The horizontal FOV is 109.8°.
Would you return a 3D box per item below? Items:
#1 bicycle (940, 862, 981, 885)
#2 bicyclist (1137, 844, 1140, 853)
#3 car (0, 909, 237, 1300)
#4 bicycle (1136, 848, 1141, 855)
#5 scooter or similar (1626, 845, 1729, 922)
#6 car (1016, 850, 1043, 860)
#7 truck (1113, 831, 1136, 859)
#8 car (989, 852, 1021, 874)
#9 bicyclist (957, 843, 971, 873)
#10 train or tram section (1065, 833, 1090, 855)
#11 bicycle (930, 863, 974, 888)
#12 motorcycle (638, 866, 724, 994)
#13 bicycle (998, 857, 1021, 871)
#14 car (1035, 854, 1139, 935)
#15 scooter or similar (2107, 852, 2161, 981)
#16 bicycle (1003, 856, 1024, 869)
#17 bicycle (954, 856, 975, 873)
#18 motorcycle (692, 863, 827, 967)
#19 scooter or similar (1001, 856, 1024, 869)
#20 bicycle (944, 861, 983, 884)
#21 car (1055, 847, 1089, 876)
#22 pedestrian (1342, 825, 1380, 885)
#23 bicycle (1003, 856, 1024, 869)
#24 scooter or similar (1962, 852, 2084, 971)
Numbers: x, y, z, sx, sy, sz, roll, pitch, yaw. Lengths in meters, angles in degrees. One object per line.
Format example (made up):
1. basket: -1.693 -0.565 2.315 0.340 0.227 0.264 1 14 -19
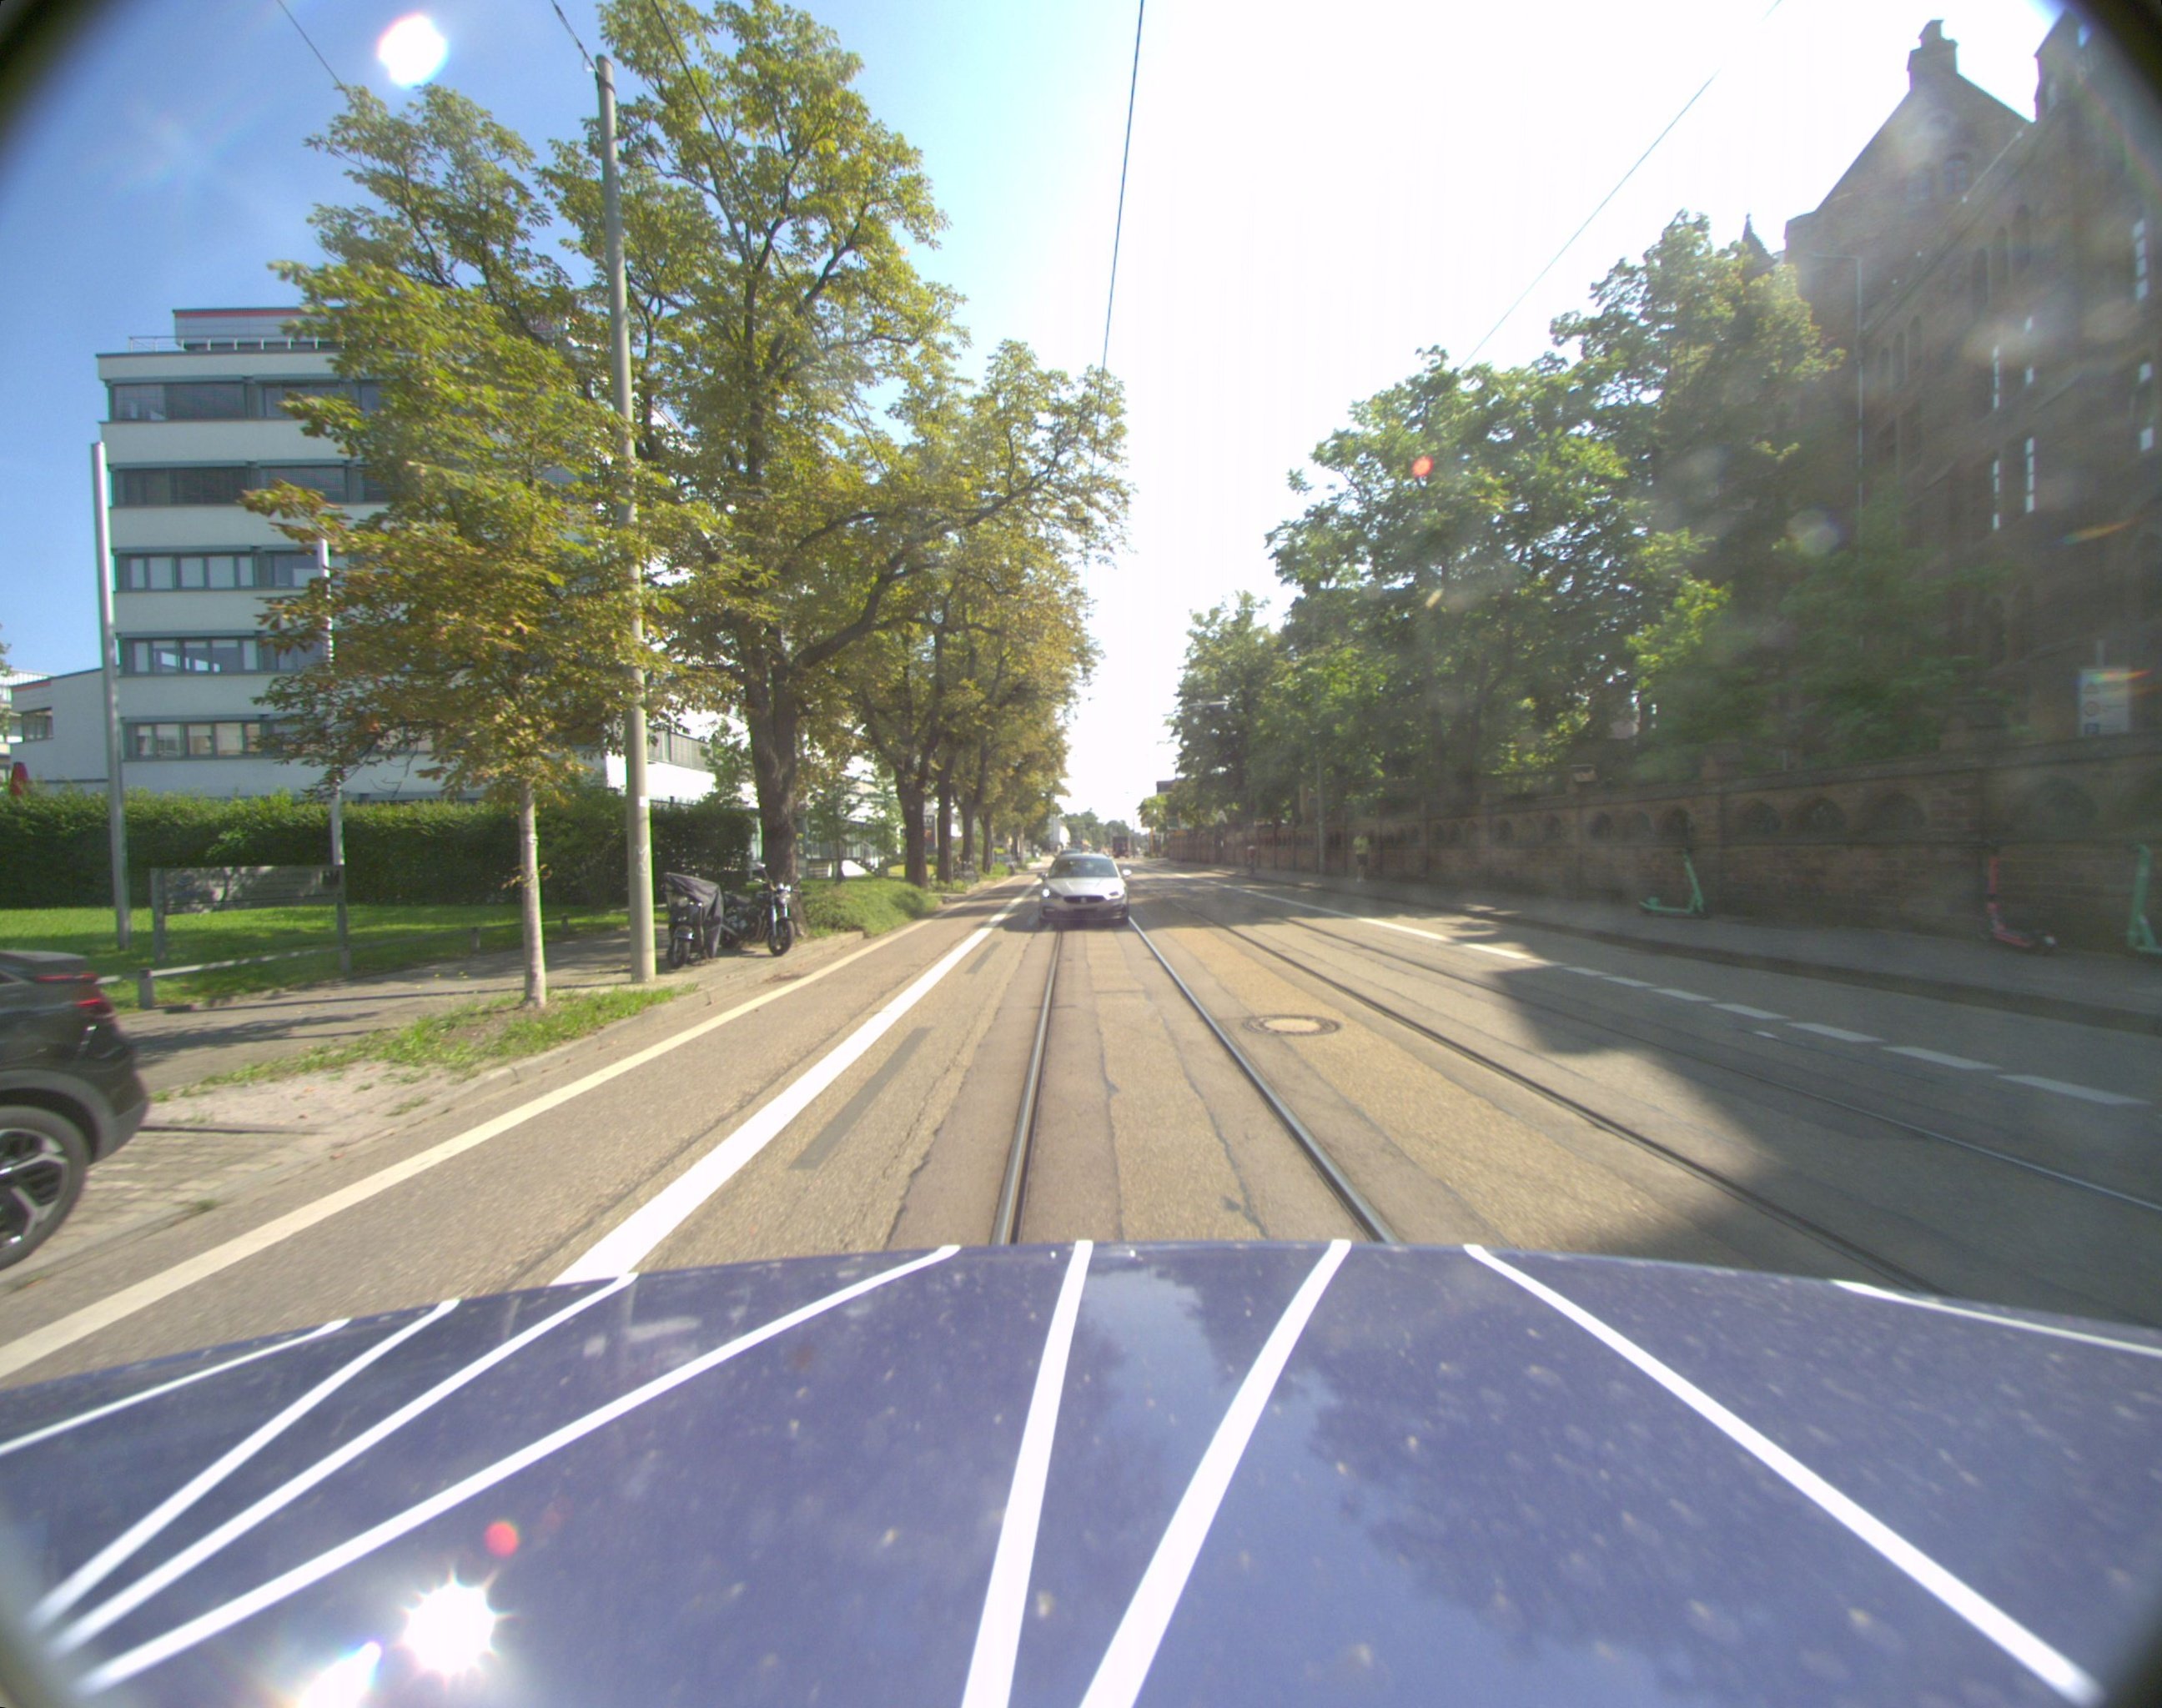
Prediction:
1. bicycle: -5.582 0.898 35.217 1.776 1.044 0.540 -1 1 -1
2. bicyclist: 12.100 -1.125 159.782 0.642 1.918 1.175 -2 1 4
3. car: -5.220 1.076 1.603 1.760 1.507 4.608 -1 1 -1
4. bicycle: 12.094 -0.549 159.780 0.787 1.233 2.034 -5 2 5
5. scooter or similar: 9.772 0.457 12.499 0.422 1.172 1.315 -2 1 -16
6. car: -8.814 0.236 130.321 4.552 1.506 1.960 -2 1 -5
7. truck: 7.793 -1.627 135.066 3.171 4.427 16.845 -2 1 6
8. car: -5.310 0.614 53.460 1.760 1.453 4.274 -1 1 0
9. bicyclist: -8.086 0.251 52.708 0.783 2.002 1.274 -2 1 -3
10. train or tram section: -0.448 -1.854 143.470 4.111 3.711 24.376 -2 1 1
11. bicycle: -5.555 0.924 32.738 1.776 1.044 0.540 -1 1 -1
12. motorcycle: -5.488 0.954 10.566 0.854 1.507 2.450 -3 1 -25
13. bicycle: -5.593 0.744 59.519 1.776 1.065 0.540 -1 1 -1
14. car: 0.086 0.758 16.750 1.928 1.465 4.816 -2 0 -1
15. scooter or similar: 10.214 0.589 7.029 0.340 1.172 1.180 -2 1 25
16. bicycle: -5.747 0.692 64.921 1.776 1.065 0.540 -1 1 -1
17. bicycle: -8.081 0.709 52.813 1.138 1.118 2.535 -2 1 -3
18. motorcycle: -5.226 0.926 12.266 2.448 1.507 0.854 -1 1 38
19. scooter or similar: -5.649 0.712 62.688 1.776 1.065 0.540 -1 1 -1
20. bicycle: -5.540 0.889 35.895 1.776 1.044 0.540 -1 1 -1
21. car: -0.544 0.399 44.421 1.834 1.543 4.032 -2 1 -1
22. pedestrian: 9.600 0.038 26.065 0.866 2.002 0.983 -2 1 -2
23. bicycle: -5.758 0.692 64.898 1.776 1.065 0.540 -1 1 -1
24. scooter or similar: 10.121 0.580 8.201 0.340 1.172 1.180 -2 1 25
